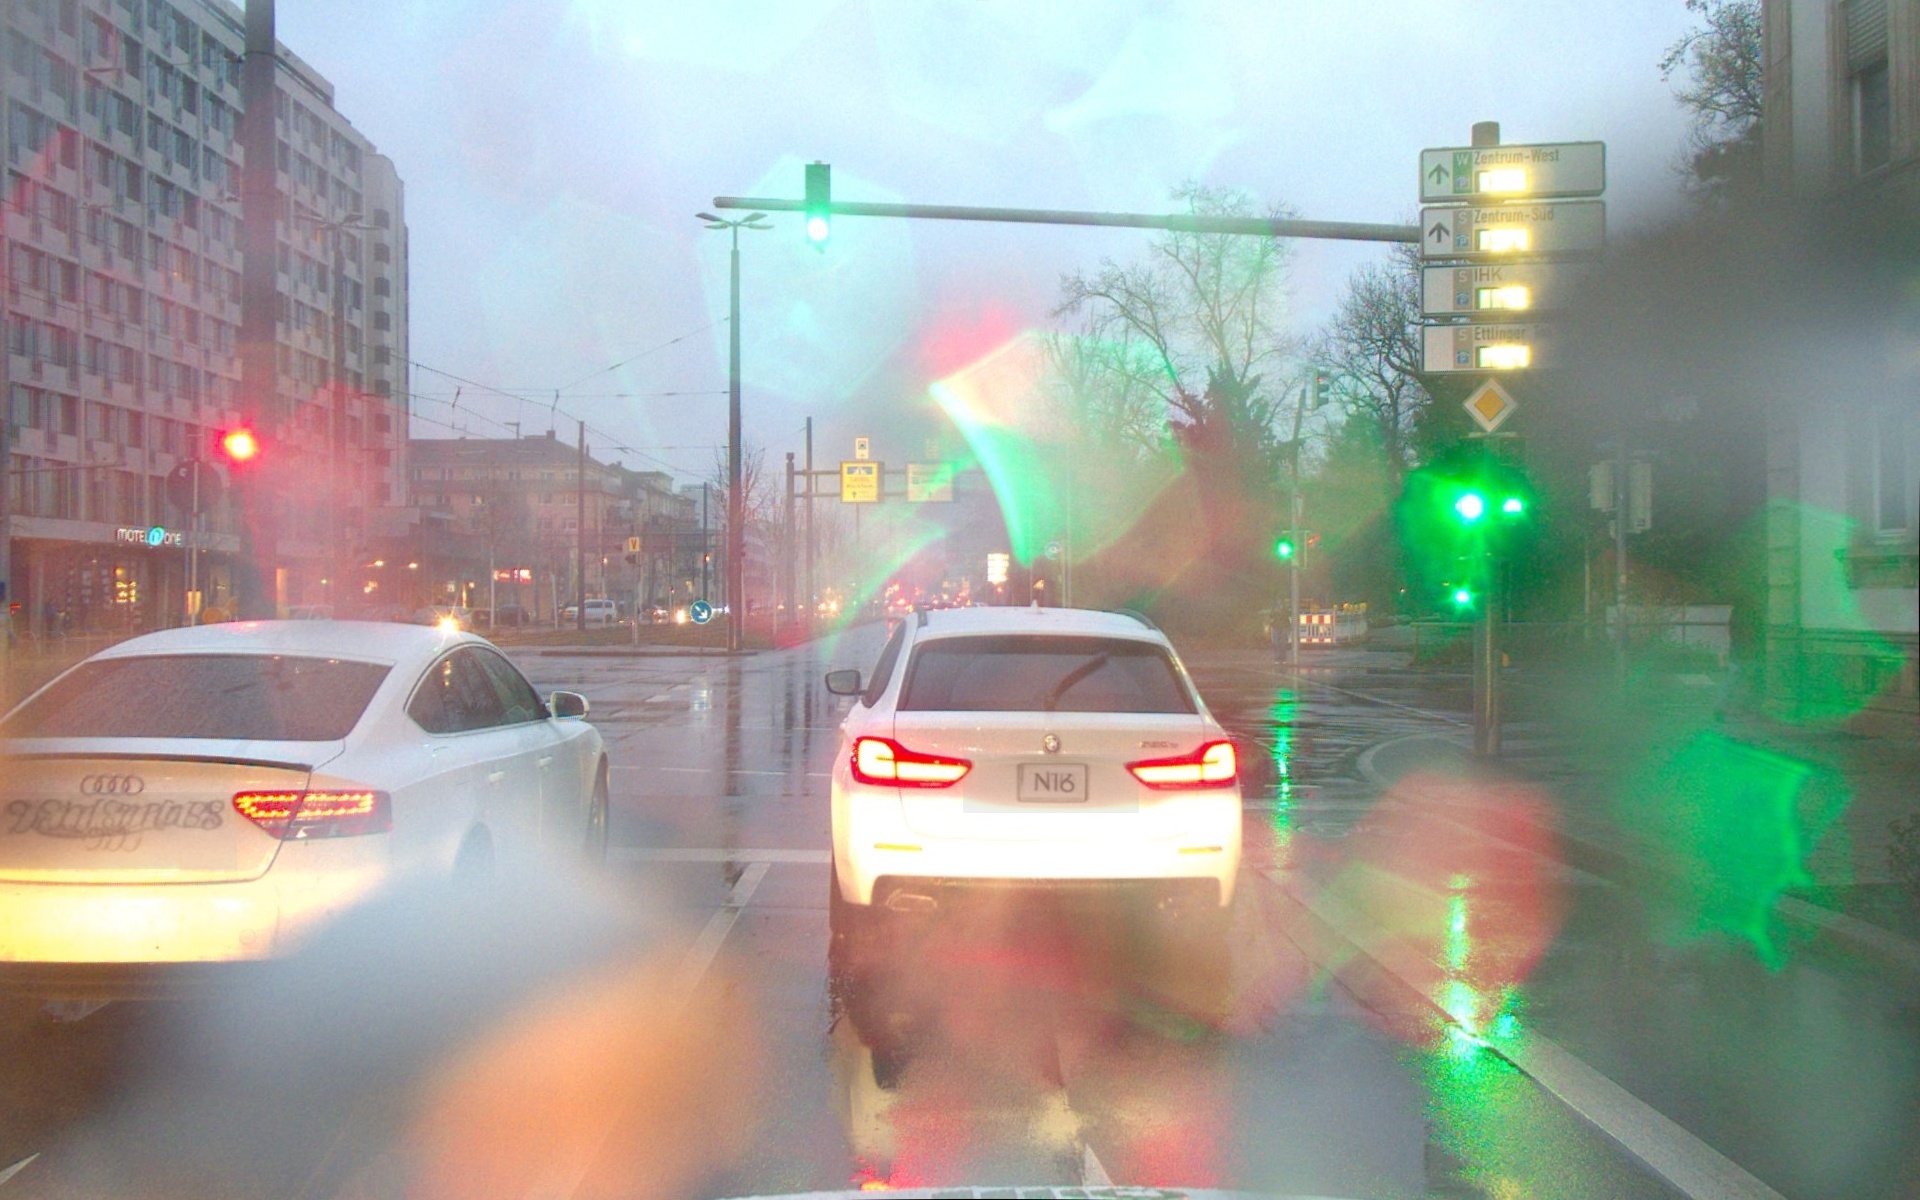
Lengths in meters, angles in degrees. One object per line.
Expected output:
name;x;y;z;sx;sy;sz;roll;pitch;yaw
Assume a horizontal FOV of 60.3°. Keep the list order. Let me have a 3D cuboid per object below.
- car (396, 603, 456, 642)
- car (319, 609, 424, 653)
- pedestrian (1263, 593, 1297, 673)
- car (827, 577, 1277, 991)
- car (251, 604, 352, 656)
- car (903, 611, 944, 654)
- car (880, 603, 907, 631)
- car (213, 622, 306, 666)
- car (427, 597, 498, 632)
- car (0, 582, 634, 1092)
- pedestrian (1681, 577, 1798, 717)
car;-21.317;0.878;66.198;1.960;1.487;5.074;1;0;-15
car;-20.939;1.075;59.053;1.953;1.487;5.094;1;0;-1
pedestrian;7.753;0.789;40.097;0.659;1.912;0.715;1;-1;-1
car;0.260;0.724;8.513;1.724;1.580;4.249;1;0;-3
car;-24.073;1.070;60.644;1.843;1.821;4.598;1;0;-1
car;-1.790;1.594;82.443;1.953;2.049;3.999;1;0;-1
car;-5.089;1.280;127.043;1.953;2.049;3.999;1;0;-1
car;-27.345;1.676;64.691;1.842;1.601;4.000;1;0;1
car;-22.163;0.626;73.839;1.954;1.487;5.090;1;0;-5
car;-2.576;0.709;7.001;1.724;1.495;4.249;1;0;-3
pedestrian;9.239;0.550;19.624;0.992;1.607;0.780;1;-1;-18
